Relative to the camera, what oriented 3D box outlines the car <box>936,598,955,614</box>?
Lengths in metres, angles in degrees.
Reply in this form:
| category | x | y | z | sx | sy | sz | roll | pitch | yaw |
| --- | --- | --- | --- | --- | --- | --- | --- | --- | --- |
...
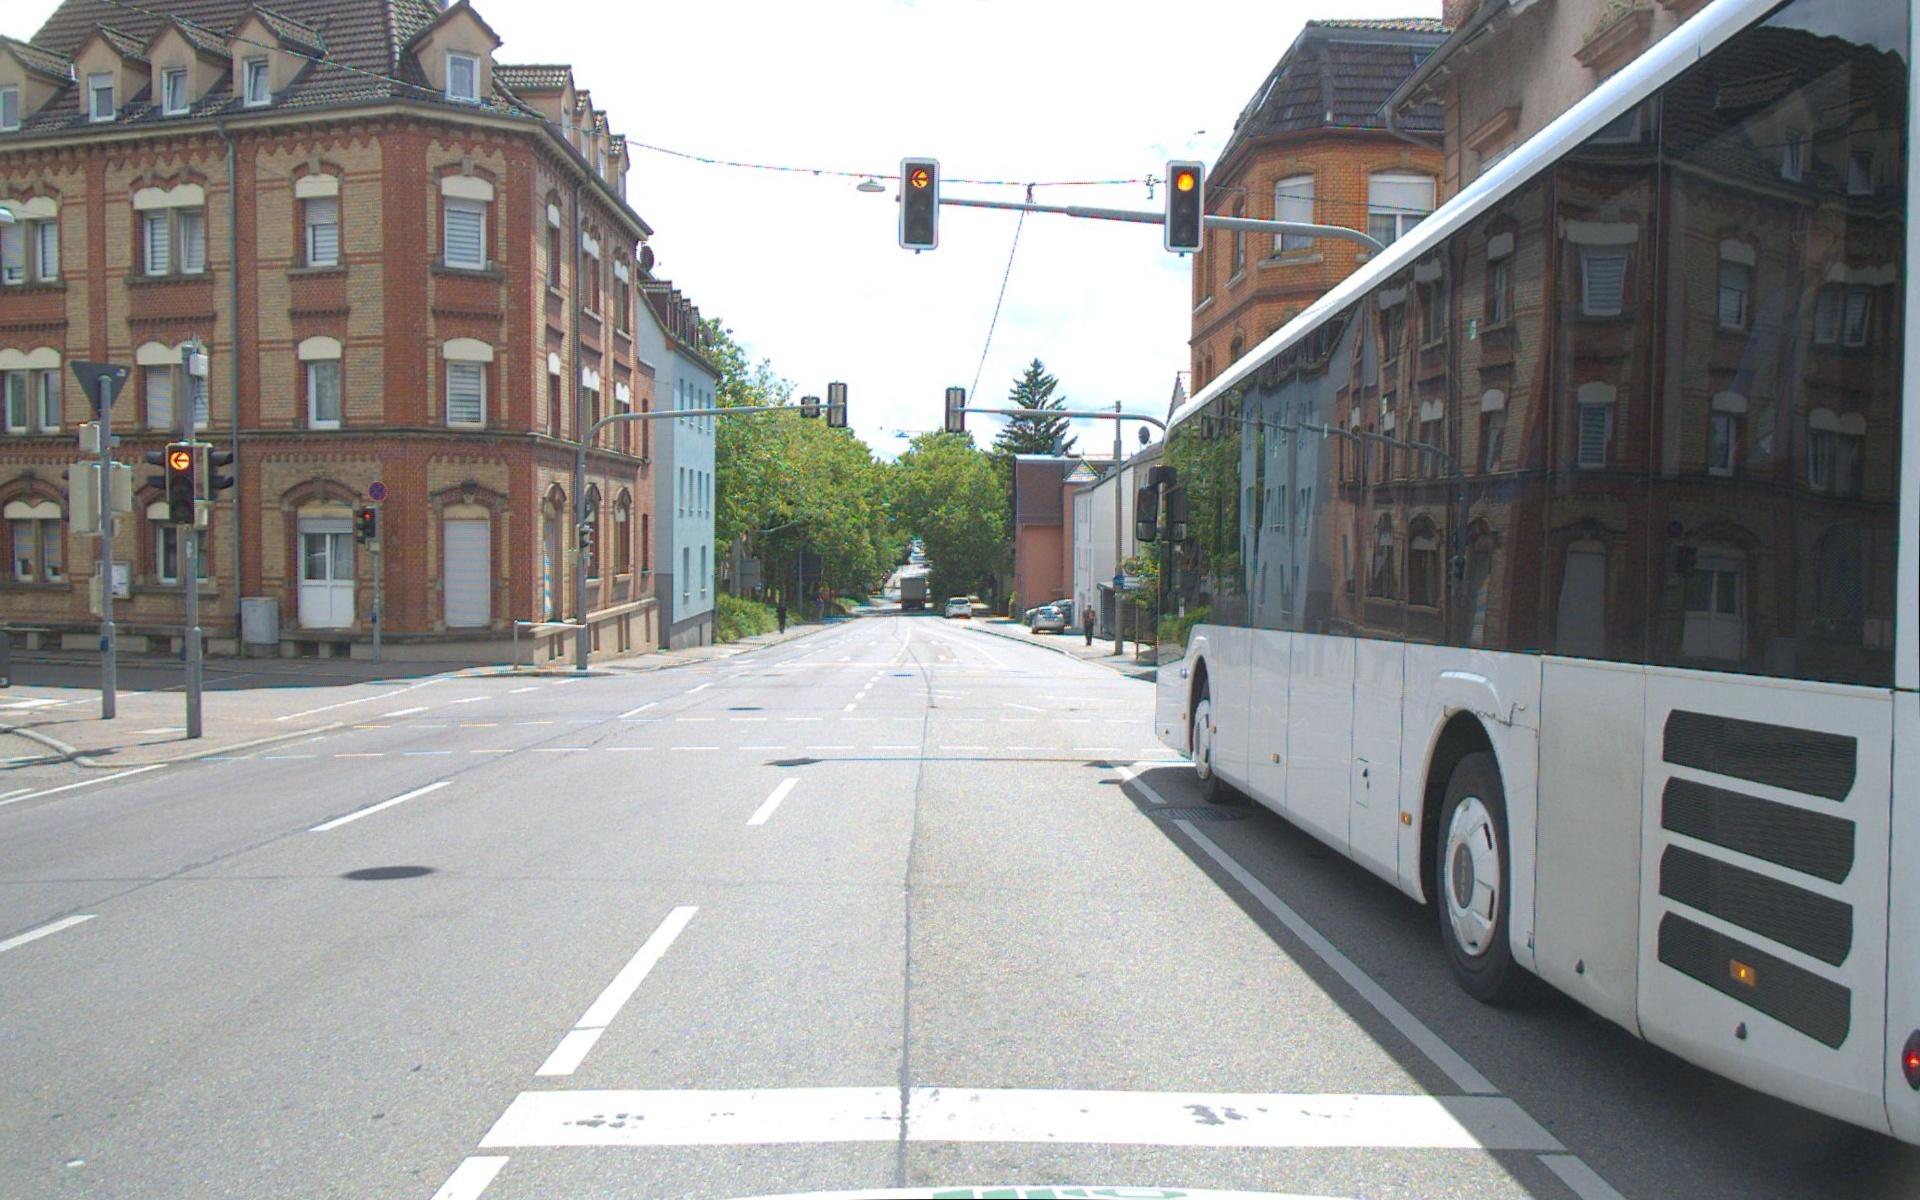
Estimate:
| category | x | y | z | sx | sy | sz | roll | pitch | yaw |
| --- | --- | --- | --- | --- | --- | --- | --- | --- | --- |
| car | -1.342 | 0.516 | 153.904 | 1.757 | 1.434 | 4.418 | 1 | 0 | 0 |

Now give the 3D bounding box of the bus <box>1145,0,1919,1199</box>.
| category | x | y | z | sx | sy | sz | roll | pitch | yaw |
| --- | --- | --- | --- | --- | --- | --- | --- | --- | --- |
| bus | 3.145 | -0.091 | 9.303 | 2.618 | 3.211 | 12.459 | 1 | 0 | -1 |

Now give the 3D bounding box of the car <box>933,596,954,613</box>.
| category | x | y | z | sx | sy | sz | roll | pitch | yaw |
| --- | --- | --- | --- | --- | --- | --- | --- | --- | --- |
| car | -1.412 | 0.405 | 145.798 | 1.757 | 1.434 | 4.418 | 1 | 0 | 0 |

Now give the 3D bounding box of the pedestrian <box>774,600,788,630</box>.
| category | x | y | z | sx | sy | sz | roll | pitch | yaw |
| --- | --- | --- | --- | --- | --- | --- | --- | --- | --- |
| pedestrian | -9.479 | 0.800 | 87.526 | 0.714 | 1.592 | 0.560 | 0 | 0 | -2 |

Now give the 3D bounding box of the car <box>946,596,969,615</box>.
| category | x | y | z | sx | sy | sz | roll | pitch | yaw |
| --- | --- | --- | --- | --- | --- | --- | --- | --- | --- |
| car | -0.193 | 0.457 | 129.474 | 1.758 | 1.434 | 3.999 | 1 | 0 | -1 |

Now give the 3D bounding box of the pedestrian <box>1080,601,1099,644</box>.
| category | x | y | z | sx | sy | sz | roll | pitch | yaw |
| --- | --- | --- | --- | --- | --- | --- | --- | --- | --- |
| pedestrian | 5.421 | 0.945 | 69.302 | 0.723 | 1.781 | 0.619 | -1 | 0 | -1 |

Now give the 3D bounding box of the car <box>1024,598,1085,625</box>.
| category | x | y | z | sx | sy | sz | roll | pitch | yaw |
| --- | --- | --- | --- | --- | --- | --- | --- | --- | --- |
| car | 6.482 | 0.781 | 113.256 | 3.909 | 1.788 | 1.998 | -1 | 0 | -6 |

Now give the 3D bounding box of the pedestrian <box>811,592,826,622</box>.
| category | x | y | z | sx | sy | sz | roll | pitch | yaw |
| --- | --- | --- | --- | --- | --- | --- | --- | --- | --- |
| pedestrian | -9.961 | 0.495 | 116.623 | 0.974 | 2.049 | 1.188 | 0 | 0 | -1 |

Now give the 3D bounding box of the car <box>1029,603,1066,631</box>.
| category | x | y | z | sx | sy | sz | roll | pitch | yaw |
| --- | --- | --- | --- | --- | --- | --- | --- | --- | --- |
| car | 4.909 | 0.948 | 93.131 | 1.758 | 1.434 | 3.999 | -1 | 1 | -2 |

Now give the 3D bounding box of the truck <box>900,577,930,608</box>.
| category | x | y | z | sx | sy | sz | roll | pitch | yaw |
| --- | --- | --- | --- | --- | --- | --- | --- | --- | --- |
| truck | -4.750 | -0.826 | 172.928 | 2.868 | 3.135 | 7.881 | -1 | 0 | -3 |
